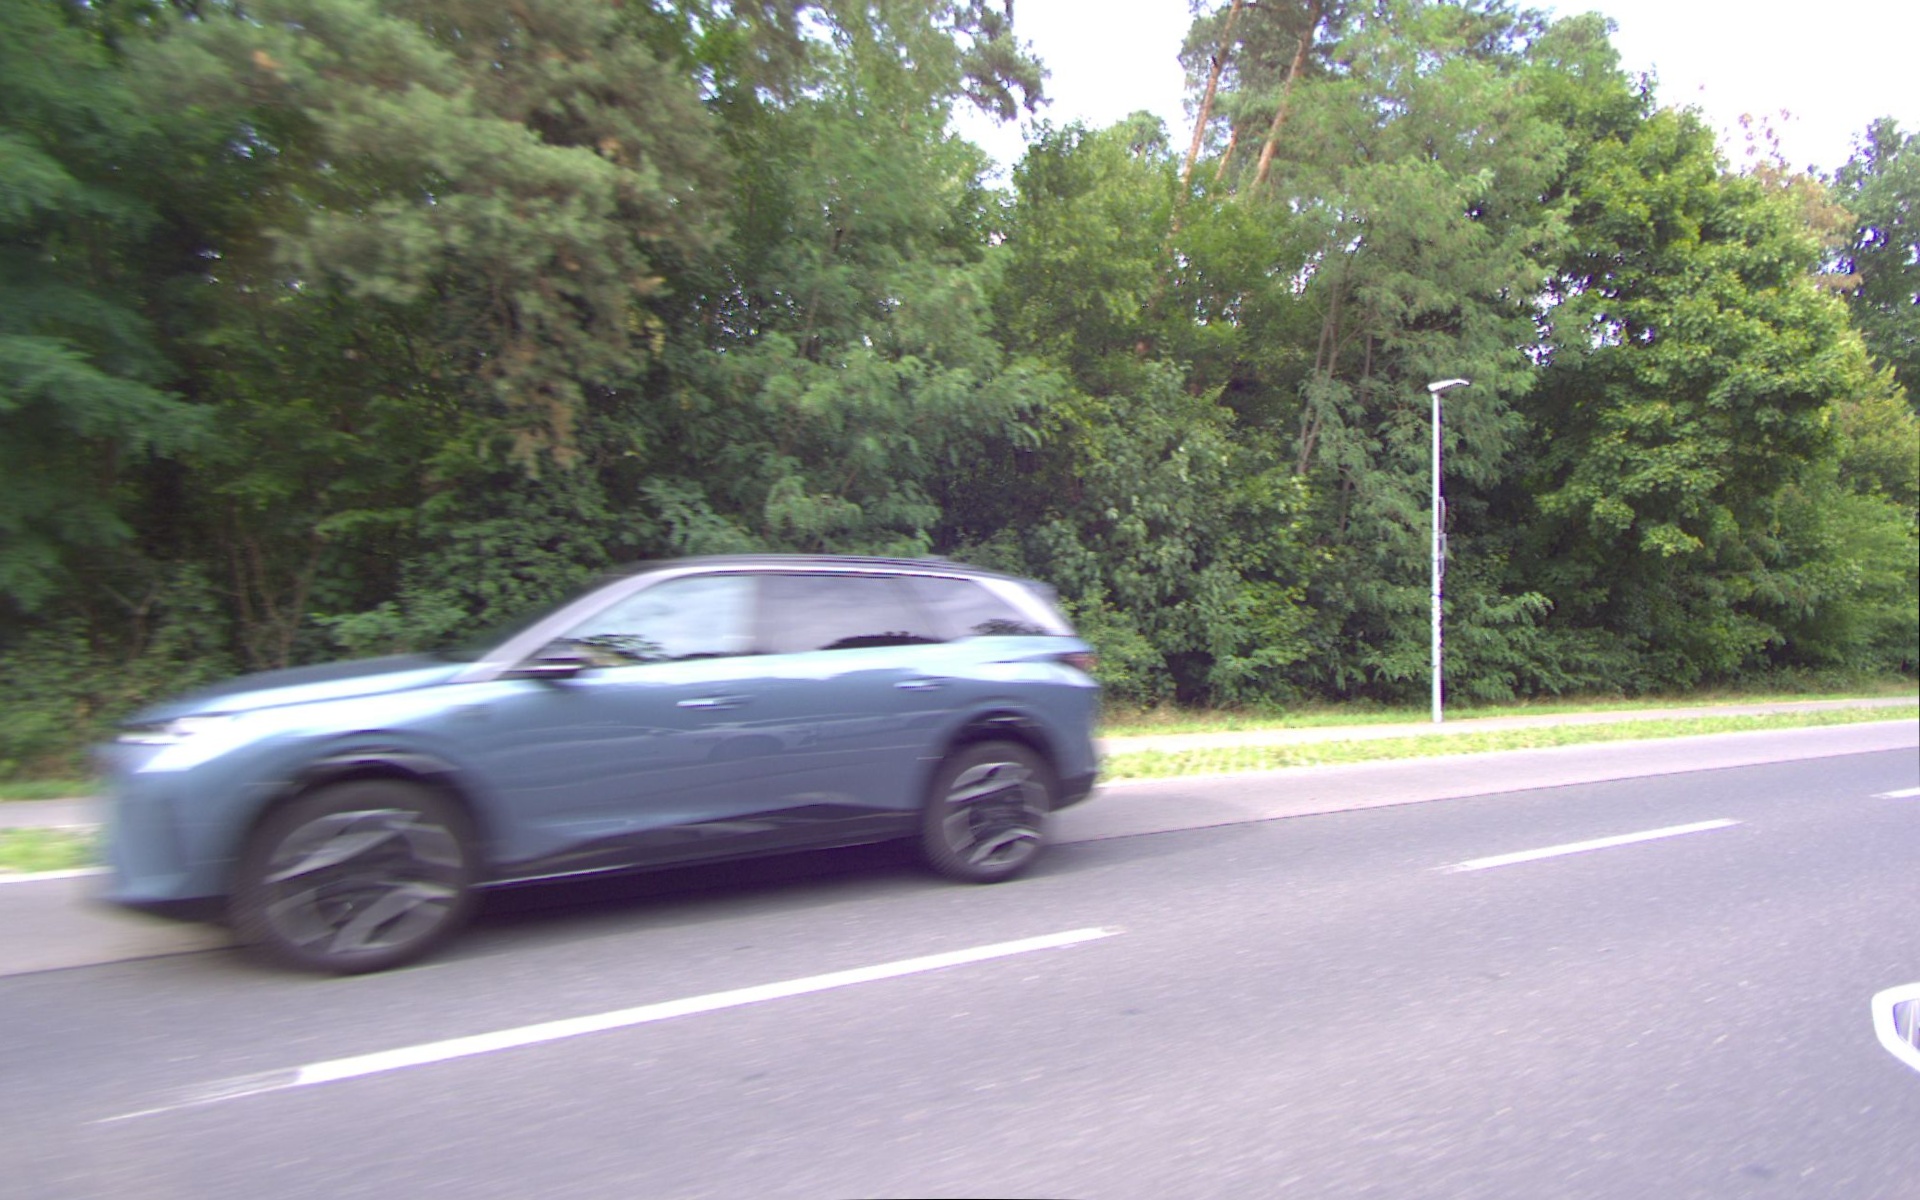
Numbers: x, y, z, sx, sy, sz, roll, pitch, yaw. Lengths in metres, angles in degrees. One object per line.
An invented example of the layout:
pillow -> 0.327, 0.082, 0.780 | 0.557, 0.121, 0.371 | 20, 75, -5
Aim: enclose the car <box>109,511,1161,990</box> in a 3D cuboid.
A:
car -> -1.354, 0.596, 5.453 | 4.608, 1.638, 1.984 | 3, -1, -29
